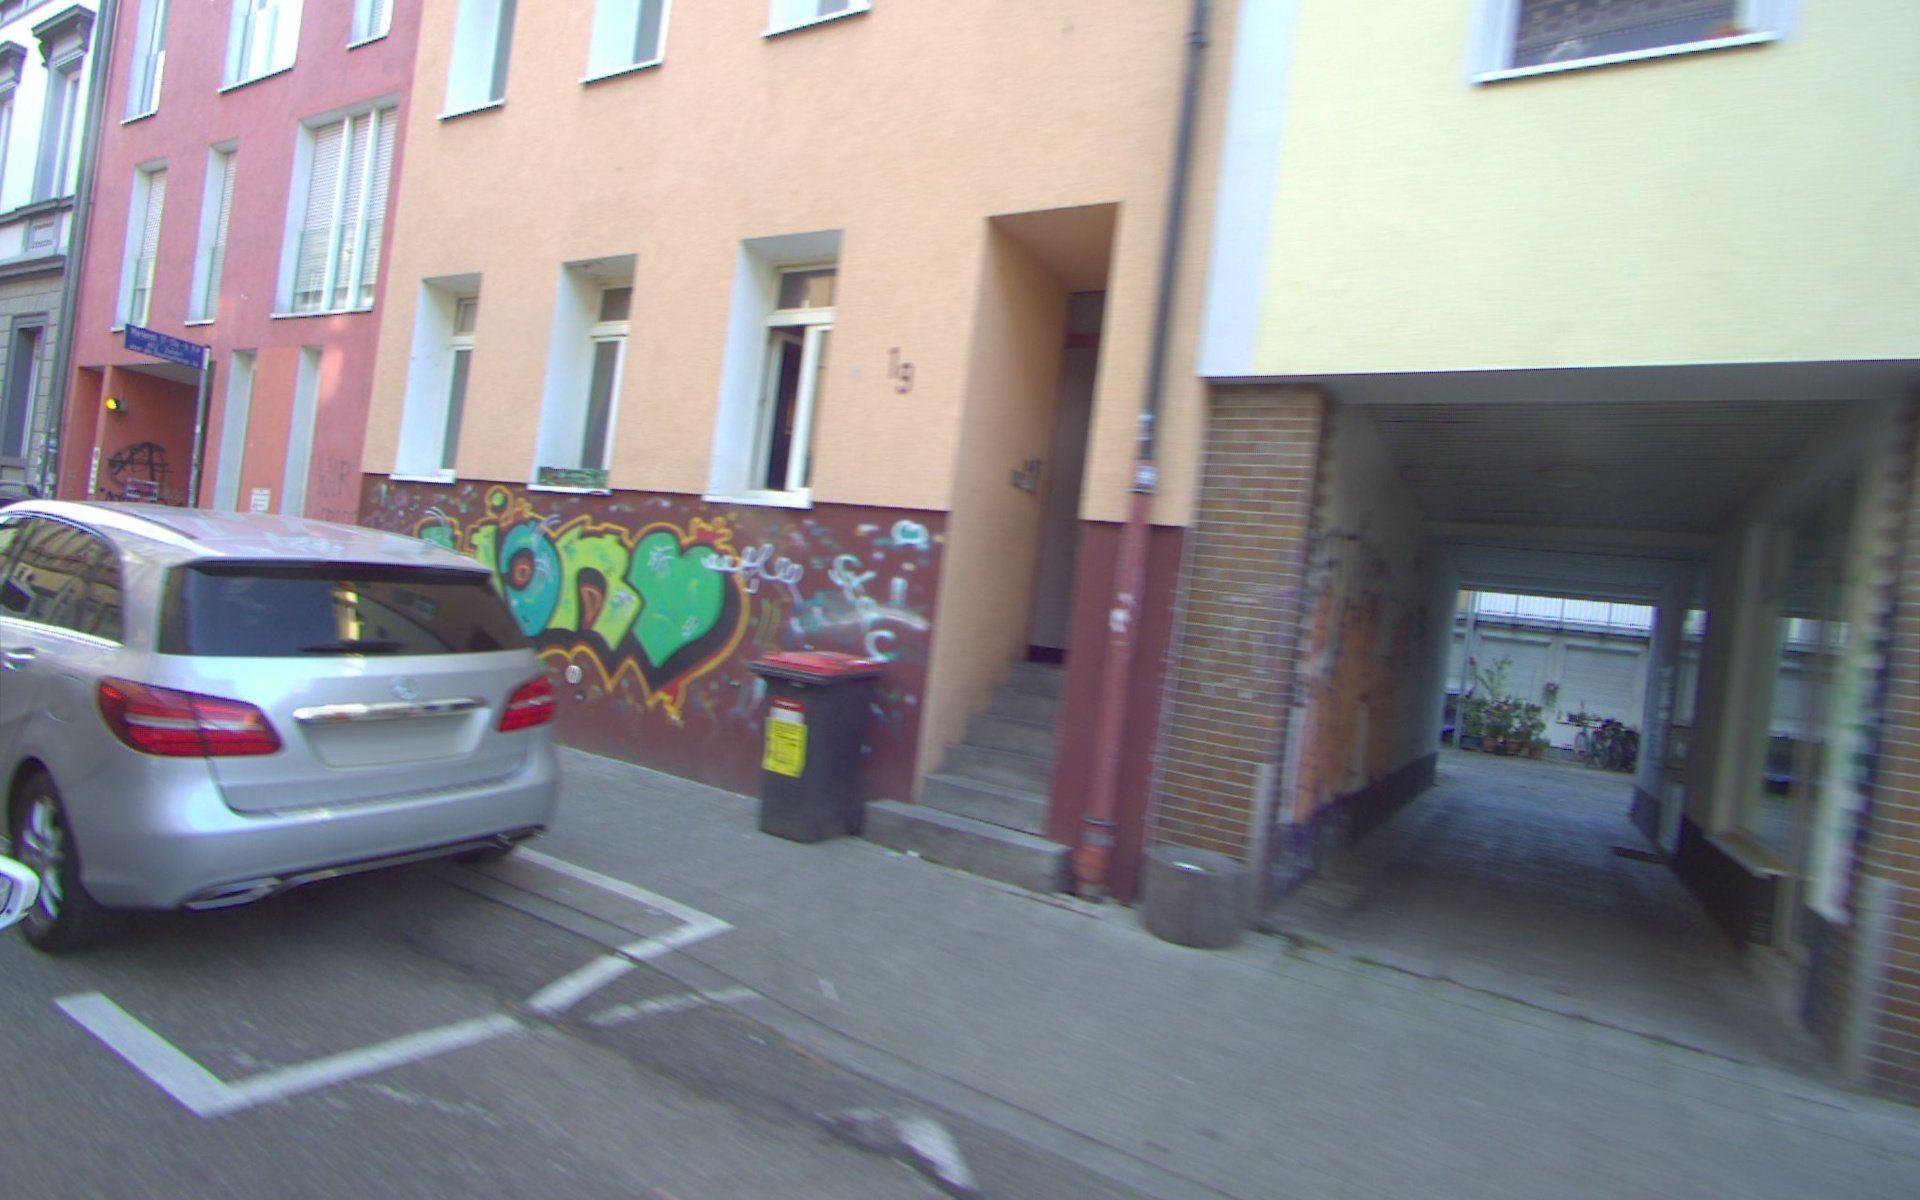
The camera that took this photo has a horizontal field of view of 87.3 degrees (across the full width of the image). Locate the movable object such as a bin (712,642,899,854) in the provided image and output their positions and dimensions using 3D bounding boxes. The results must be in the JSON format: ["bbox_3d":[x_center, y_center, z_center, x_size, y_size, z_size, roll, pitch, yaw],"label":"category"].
[{"bbox_3d":[-0.903,0.827,5.936,0.724,1.072,0.693,7,2,31],"label":"movable object such as a bin"}]

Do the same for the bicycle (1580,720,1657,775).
[{"bbox_3d":[15.885,3.543,24.317,0.448,1.066,1.762,7,-1,-5],"label":"bicycle"}]

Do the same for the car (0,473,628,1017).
[{"bbox_3d":[-3.744,0.325,4.817,4.102,1.574,1.749,7,-1,32],"label":"car"}]

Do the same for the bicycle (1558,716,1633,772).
[{"bbox_3d":[15.344,3.468,24.349,0.448,1.066,1.762,7,-1,-5],"label":"bicycle"}]

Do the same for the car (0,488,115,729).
[{"bbox_3d":[-7.790,-0.111,7.239,3.393,1.559,1.603,7,2,32],"label":"car"}]
